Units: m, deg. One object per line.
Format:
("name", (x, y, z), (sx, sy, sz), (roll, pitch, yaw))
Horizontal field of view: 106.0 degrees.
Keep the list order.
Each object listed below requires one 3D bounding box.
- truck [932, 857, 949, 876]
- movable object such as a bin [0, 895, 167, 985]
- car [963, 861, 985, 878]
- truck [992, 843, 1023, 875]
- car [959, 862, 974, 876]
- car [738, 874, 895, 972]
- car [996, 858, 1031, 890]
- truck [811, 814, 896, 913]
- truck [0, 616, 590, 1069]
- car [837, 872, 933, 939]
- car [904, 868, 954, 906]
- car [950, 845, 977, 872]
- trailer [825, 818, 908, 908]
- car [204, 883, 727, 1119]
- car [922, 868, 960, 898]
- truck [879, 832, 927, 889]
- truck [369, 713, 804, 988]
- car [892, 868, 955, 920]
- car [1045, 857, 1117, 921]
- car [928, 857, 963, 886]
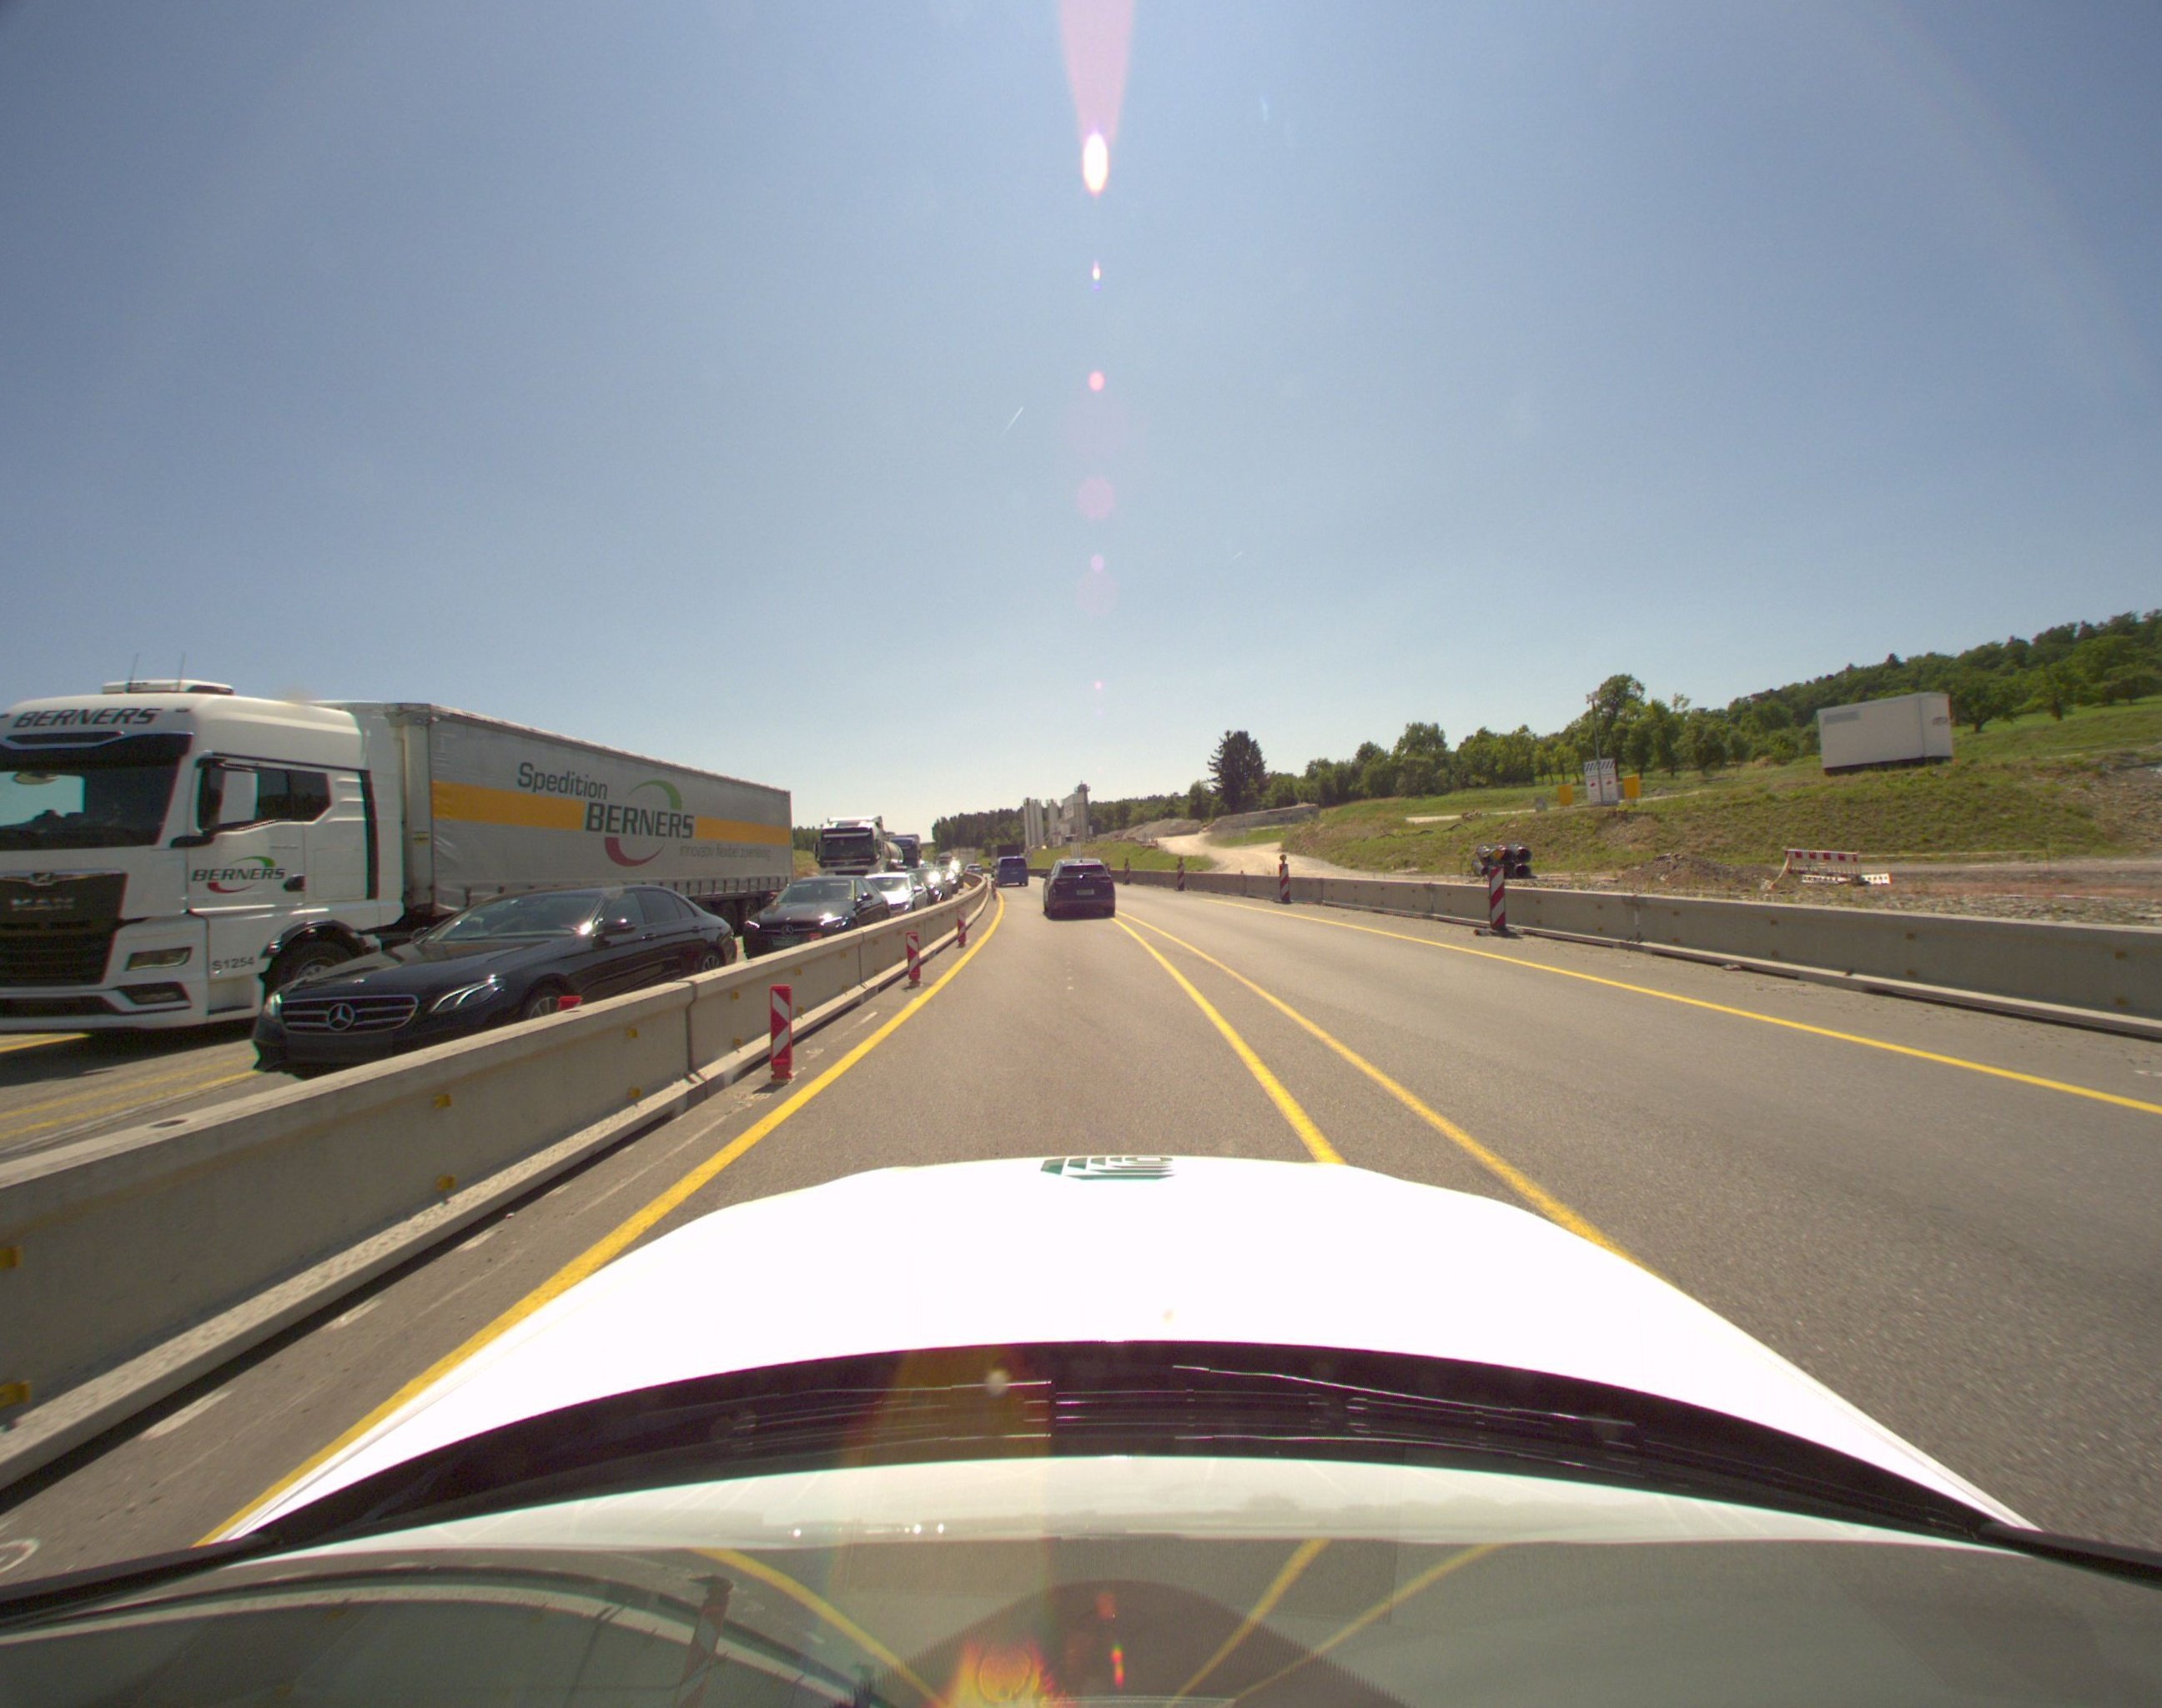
("truck", (-34.532, 2.986, 199.725), (3.479, 4.220, 10.332), (-2, 0, -12))
("movable object such as a bin", (-43.893, 3.652, 34.428), (3.844, 3.049, 5.993), (-5, 2, -10))
("car", (-10.870, 1.557, 82.649), (2.044, 1.526, 5.052), (-4, 1, -8))
("truck", (-7.560, 0.536, 83.058), (2.672, 2.945, 5.603), (-5, 0, -9))
("car", (-14.742, 1.906, 104.995), (1.820, 1.644, 3.854), (-3, 0, -8))
("car", (-4.836, 1.189, 15.522), (1.652, 1.453, 4.245), (-3, 0, -2))
("car", (-4.322, 1.210, 52.005), (1.992, 1.844, 3.990), (-3, 0, -7))
("truck", (-10.229, 0.403, 37.200), (2.698, 3.969, 6.181), (-3, 0, -8))
("truck", (-9.977, -0.093, 10.949), (2.762, 4.259, 6.198), (-3, 0, 0))
("car", (-5.073, 1.269, 21.645), (1.675, 1.444, 4.546), (-3, 0, -4))
("car", (-6.599, 1.406, 35.752), (1.733, 1.416, 4.786), (-3, 0, -6))
("car", (-18.576, 0.695, 128.334), (3.440, 4.101, 9.156), (0, 0, -13))
("trailer", (-11.022, 0.462, 42.990), (2.703, 3.977, 11.211), (-3, 0, -8))
("car", (-5.134, 1.084, 7.671), (1.720, 1.408, 4.129), (-3, 0, 0))
("car", (-7.753, 1.572, 45.417), (1.733, 1.446, 4.786), (-2, 0, -6))
("truck", (-14.582, 0.526, 67.538), (2.771, 4.137, 10.840), (-3, 0, -8))
("truck", (-9.977, -0.067, 19.026), (2.765, 4.277, 11.777), (-3, 0, 0))
("car", (-5.391, 1.324, 28.282), (1.675, 1.544, 4.110), (-2, 0, -5))
("car", (-0.079, 0.935, 23.624), (1.838, 1.582, 3.996), (-2, 0, -3))
("car", (-8.895, 1.113, 53.884), (2.044, 1.777, 5.052), (-2, 0, -8))
